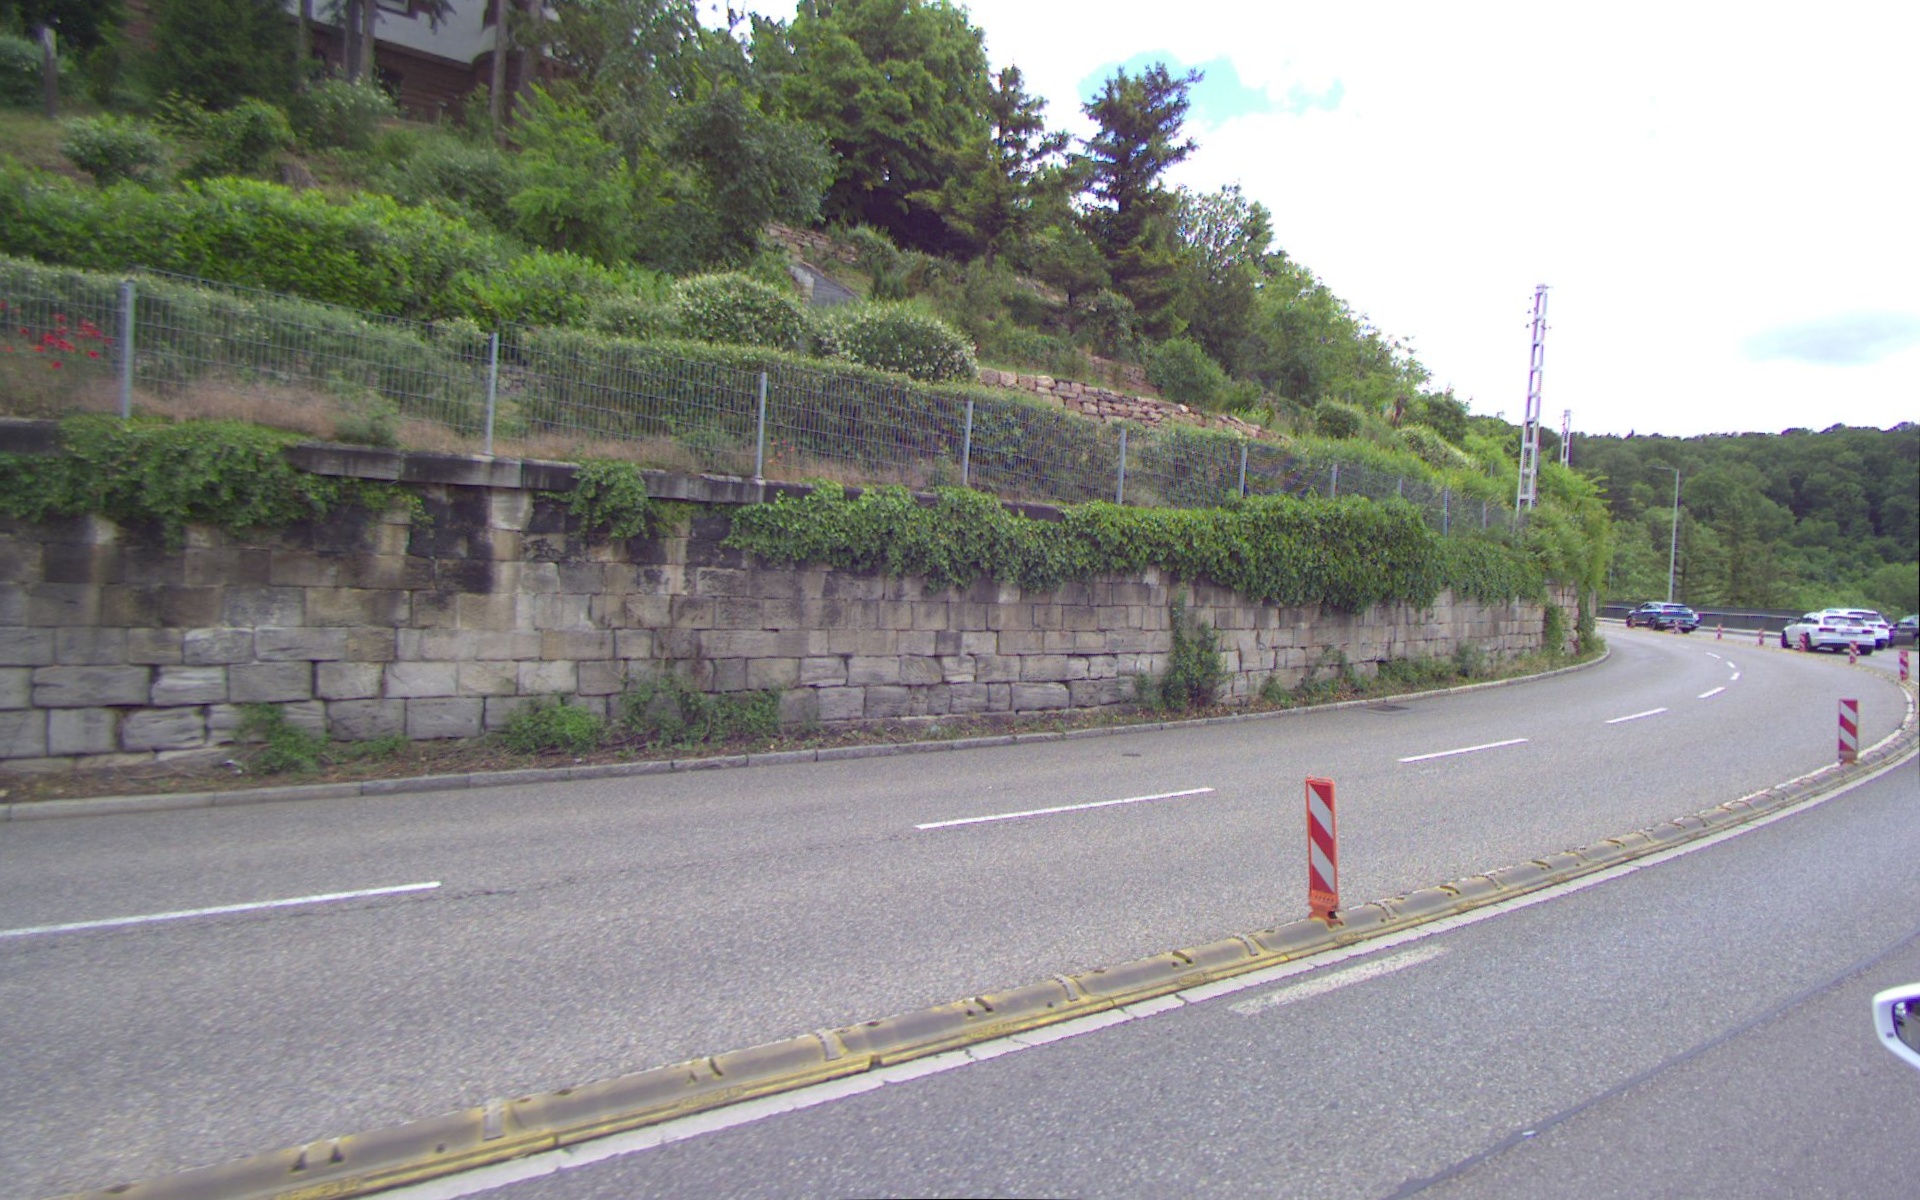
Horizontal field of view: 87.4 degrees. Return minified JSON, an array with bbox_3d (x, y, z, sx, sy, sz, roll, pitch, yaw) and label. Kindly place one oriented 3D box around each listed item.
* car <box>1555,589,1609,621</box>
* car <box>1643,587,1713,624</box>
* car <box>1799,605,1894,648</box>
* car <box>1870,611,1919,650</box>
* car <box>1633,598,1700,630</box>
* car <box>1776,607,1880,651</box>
[{"bbox_3d":[40.665,0.346,65.768,1.838,1.784,4.003,3,-2,15],"label":"car"},{"bbox_3d":[41.992,0.321,58.828,1.960,2.040,4.002,2,0,15],"label":"car"},{"bbox_3d":[37.768,1.132,42.907,1.962,1.741,4.110,0,-2,25],"label":"car"},{"bbox_3d":[41.600,1.356,43.456,1.844,1.563,4.088,3,1,21],"label":"car"},{"bbox_3d":[38.026,0.773,54.163,1.961,1.670,4.000,0,-2,20],"label":"car"},{"bbox_3d":[32.845,1.094,38.155,1.963,1.523,4.661,0,-1,27],"label":"car"}]
